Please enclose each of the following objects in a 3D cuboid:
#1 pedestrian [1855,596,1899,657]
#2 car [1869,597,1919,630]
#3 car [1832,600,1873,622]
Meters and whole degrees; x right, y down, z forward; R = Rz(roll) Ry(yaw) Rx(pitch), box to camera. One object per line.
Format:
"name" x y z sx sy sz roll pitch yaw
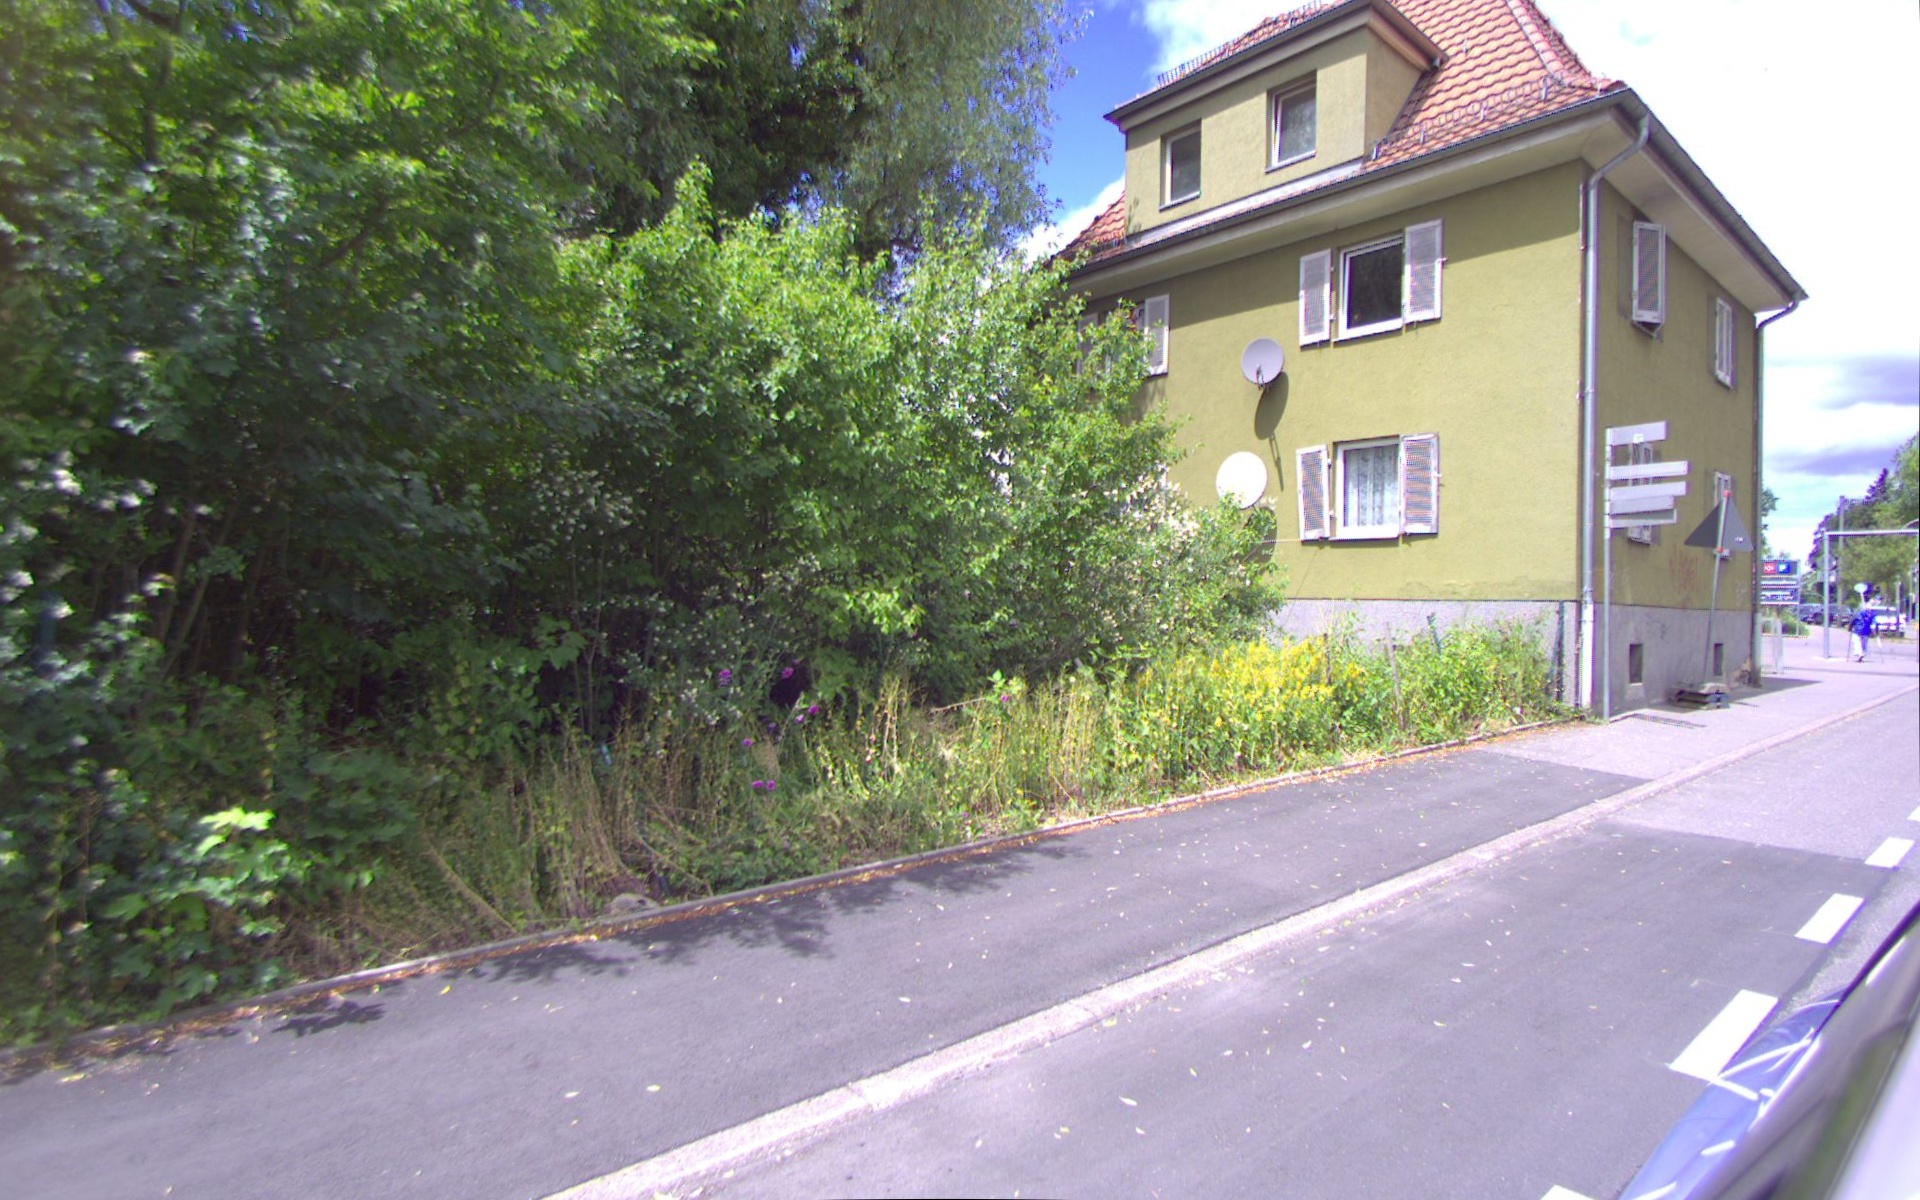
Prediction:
"pedestrian" 24.790 0.693 27.353 0.824 1.592 0.972 2 1 45
"car" 47.469 0.661 51.336 1.788 1.549 3.864 4 2 40
"car" 64.889 0.765 73.622 1.694 1.551 3.951 -1 -1 34
